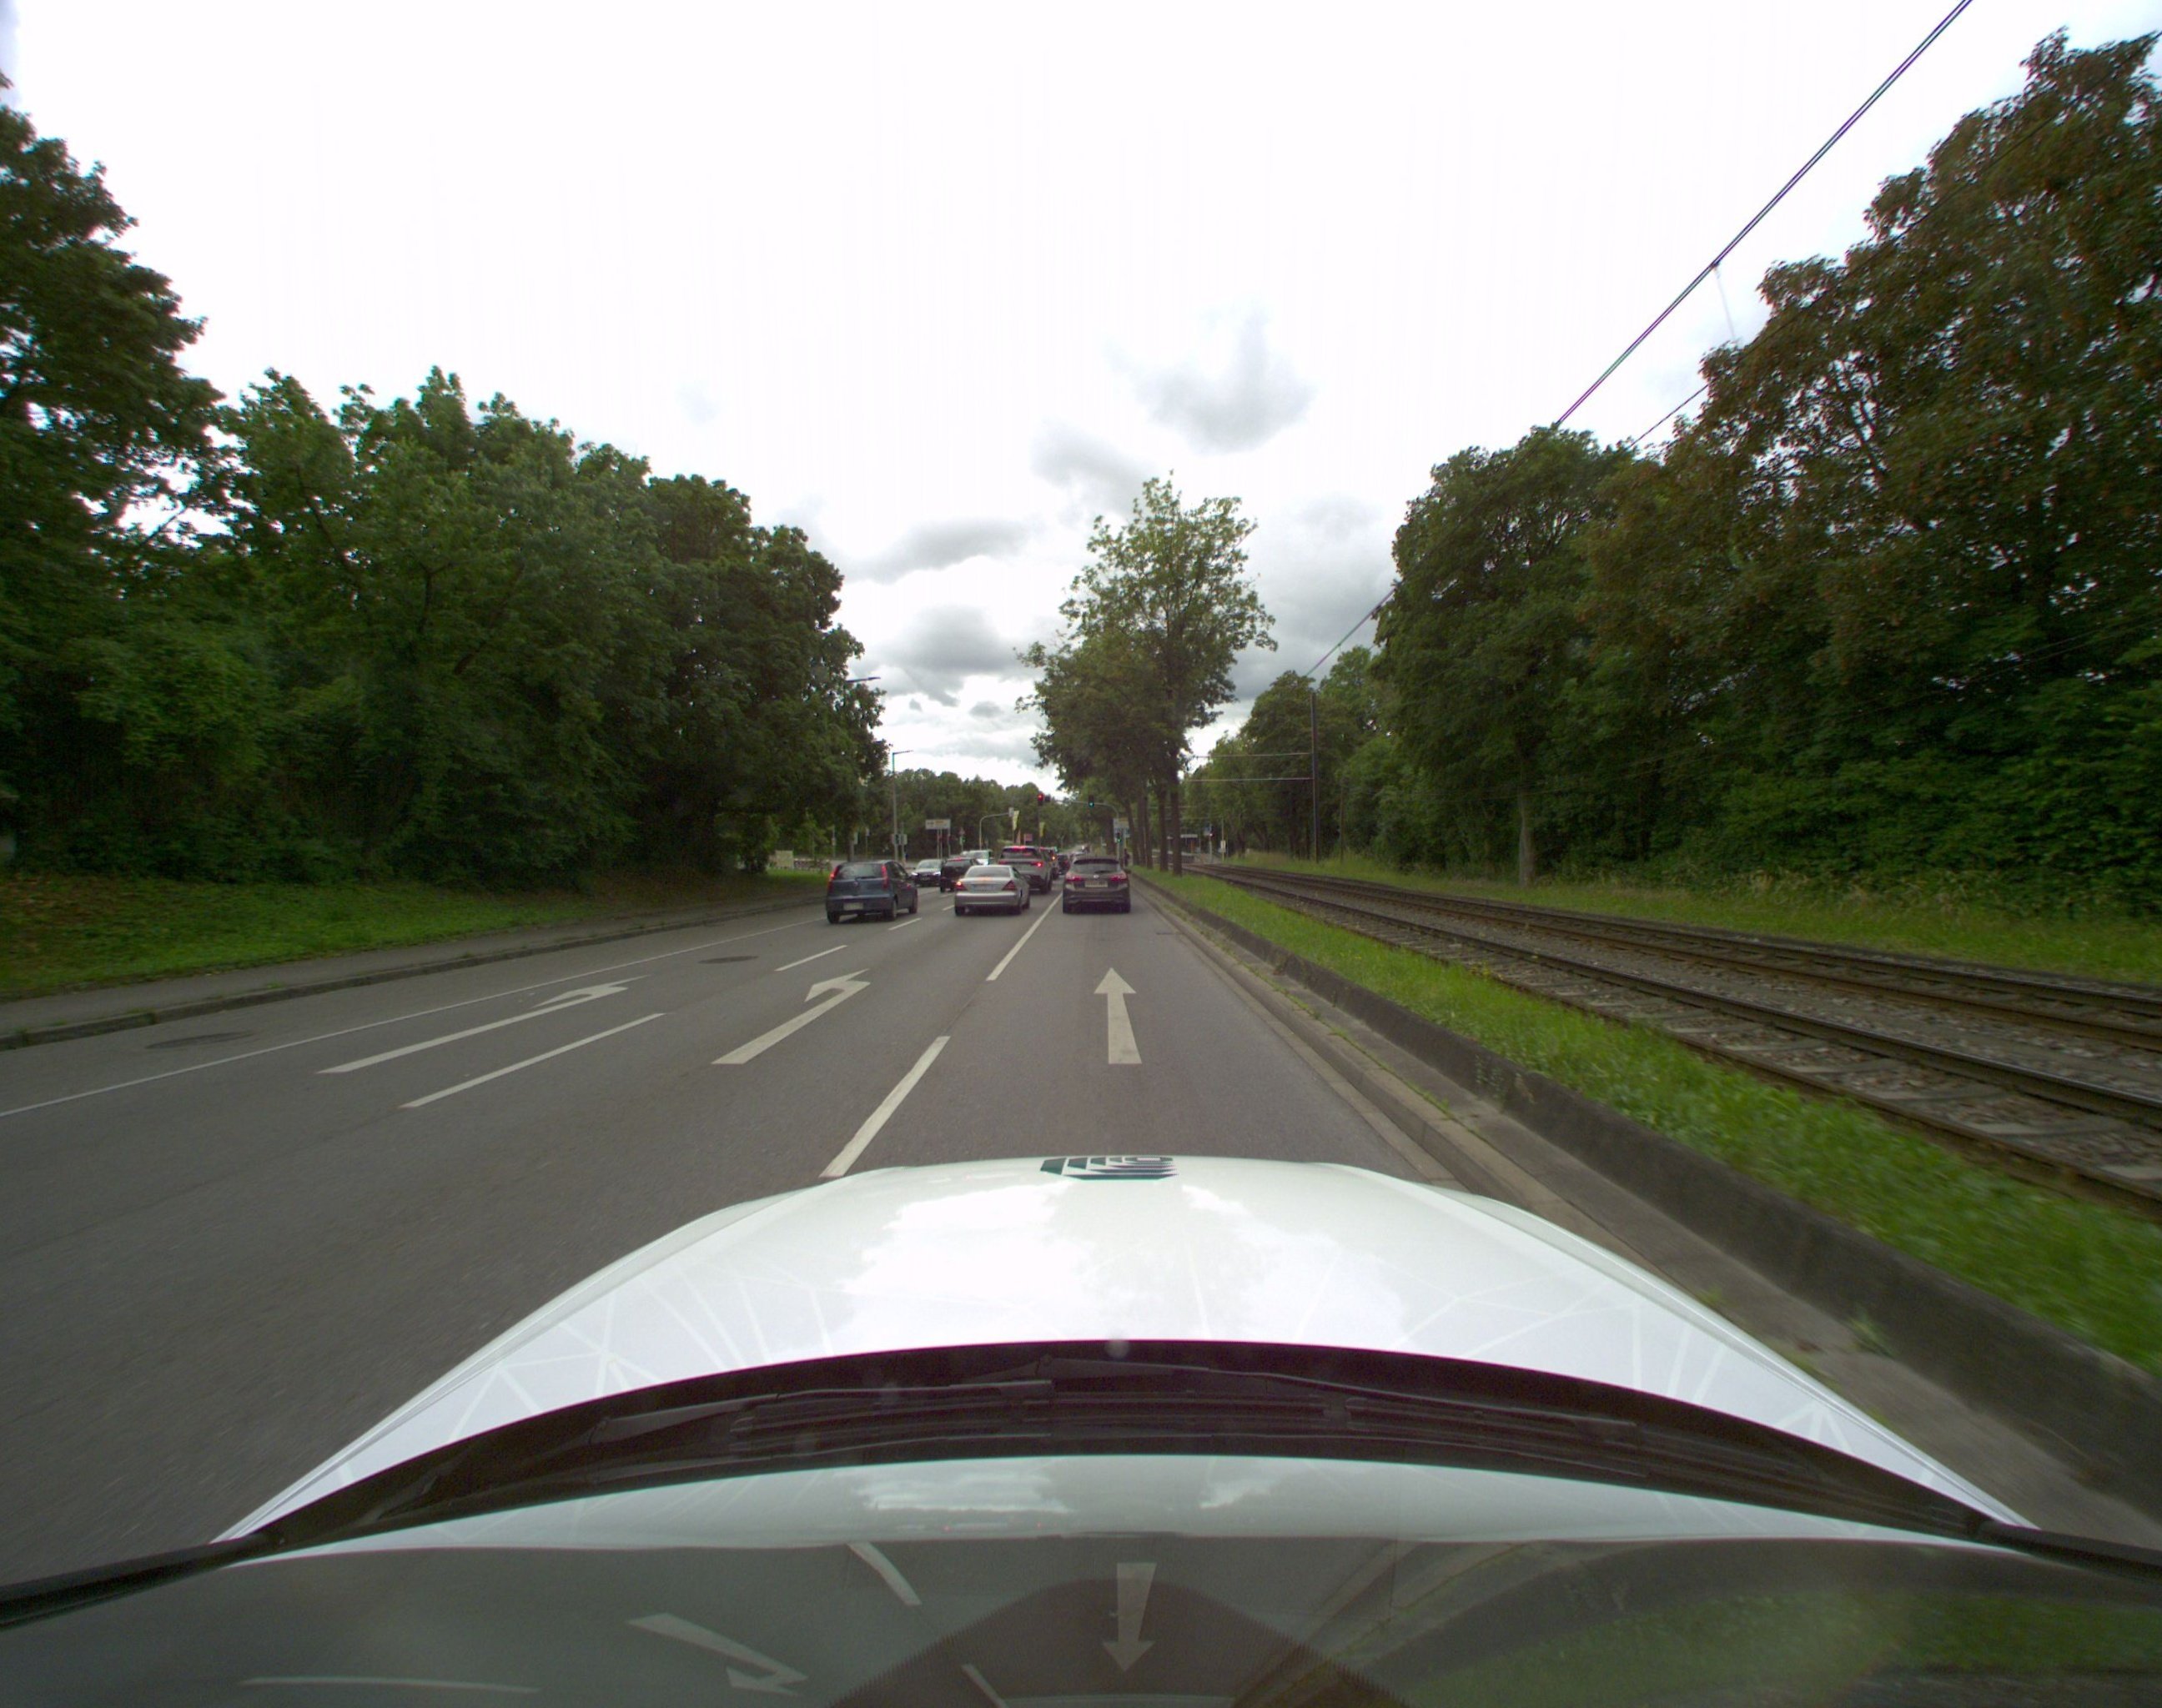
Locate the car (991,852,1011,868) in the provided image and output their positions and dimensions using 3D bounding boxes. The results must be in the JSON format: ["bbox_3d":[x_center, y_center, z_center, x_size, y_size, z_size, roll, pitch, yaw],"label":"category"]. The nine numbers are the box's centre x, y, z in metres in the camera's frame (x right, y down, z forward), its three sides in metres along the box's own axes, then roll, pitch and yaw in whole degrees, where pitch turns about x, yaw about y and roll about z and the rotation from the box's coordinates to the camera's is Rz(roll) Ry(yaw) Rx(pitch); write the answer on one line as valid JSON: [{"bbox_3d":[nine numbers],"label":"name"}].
[{"bbox_3d":[-8.235,0.623,84.222,1.734,1.539,3.909,0,0,0],"label":"car"}]

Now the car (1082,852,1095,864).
[{"bbox_3d":[1.008,0.524,105.544,1.497,1.528,3.674,0,0,3],"label":"car"}]

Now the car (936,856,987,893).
[{"bbox_3d":[-5.254,0.866,36.117,1.551,1.466,3.808,-3,0,1],"label":"car"}]

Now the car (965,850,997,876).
[{"bbox_3d":[-7.432,0.656,60.973,1.785,1.831,4.409,-2,0,0],"label":"car"}]

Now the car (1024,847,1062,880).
[{"bbox_3d":[-2.224,0.533,49.015,1.900,1.843,5.282,-1,0,1],"label":"car"}]

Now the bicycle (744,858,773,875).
[{"bbox_3d":[-23.119,0.899,58.377,0.539,1.252,1.947,0,-1,34],"label":"bicycle"}]

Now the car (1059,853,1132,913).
[{"bbox_3d":[0.461,0.730,22.512,1.830,1.528,3.931,0,0,3],"label":"car"}]

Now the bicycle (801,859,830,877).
[{"bbox_3d":[-18.145,0.948,55.666,0.539,1.252,1.947,0,0,38],"label":"bicycle"}]

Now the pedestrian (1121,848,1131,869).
[{"bbox_3d":[3.842,0.390,69.112,0.748,1.737,0.841,-3,-1,5],"label":"pedestrian"}]

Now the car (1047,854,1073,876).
[{"bbox_3d":[-1.504,0.753,58.822,1.698,1.480,3.668,-1,0,1],"label":"car"}]

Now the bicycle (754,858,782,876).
[{"bbox_3d":[-22.297,0.908,58.046,0.539,1.252,1.947,0,-1,34],"label":"bicycle"}]

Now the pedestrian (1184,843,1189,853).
[{"bbox_3d":[15.598,-0.838,120.522,0.715,1.511,0.724,1,-1,3],"label":"pedestrian"}]

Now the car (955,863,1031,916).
[{"bbox_3d":[-2.296,0.897,22.093,1.549,1.267,3.823,-1,0,1],"label":"car"}]

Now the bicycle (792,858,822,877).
[{"bbox_3d":[-18.805,0.941,55.993,0.539,1.252,1.947,0,-1,38],"label":"bicycle"}]

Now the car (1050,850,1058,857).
[{"bbox_3d":[-6.391,-0.203,194.232,1.896,1.678,5.078,-1,0,-1],"label":"car"}]

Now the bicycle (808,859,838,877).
[{"bbox_3d":[-17.515,0.954,55.368,0.539,1.252,1.947,0,-1,38],"label":"bicycle"}]

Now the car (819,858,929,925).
[{"bbox_3d":[-5.158,0.870,20.815,1.585,1.468,3.931,-2,0,3],"label":"car"}]

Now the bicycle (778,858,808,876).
[{"bbox_3d":[-20.207,0.930,57.119,0.539,1.252,1.947,0,-1,38],"label":"bicycle"}]

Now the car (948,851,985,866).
[{"bbox_3d":[-13.407,0.515,95.799,1.925,1.811,4.471,0,0,31],"label":"car"}]

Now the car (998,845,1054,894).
[{"bbox_3d":[-2.119,0.598,32.571,1.797,1.795,4.504,0,0,1],"label":"car"}]

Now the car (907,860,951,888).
[{"bbox_3d":[-8.060,1.041,43.484,1.624,1.395,3.833,-1,0,0],"label":"car"}]

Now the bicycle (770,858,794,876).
[{"bbox_3d":[-21.108,0.920,57.511,0.540,1.252,1.944,1,-1,18],"label":"bicycle"}]

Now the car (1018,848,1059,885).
[{"bbox_3d":[-2.092,0.627,40.865,1.745,1.718,4.334,-1,0,1],"label":"car"}]

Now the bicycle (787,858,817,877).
[{"bbox_3d":[-19.413,0.937,56.660,0.539,1.252,1.947,0,-1,38],"label":"bicycle"}]

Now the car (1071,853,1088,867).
[{"bbox_3d":[-0.141,0.677,88.133,1.703,1.475,3.674,0,0,3],"label":"car"}]
